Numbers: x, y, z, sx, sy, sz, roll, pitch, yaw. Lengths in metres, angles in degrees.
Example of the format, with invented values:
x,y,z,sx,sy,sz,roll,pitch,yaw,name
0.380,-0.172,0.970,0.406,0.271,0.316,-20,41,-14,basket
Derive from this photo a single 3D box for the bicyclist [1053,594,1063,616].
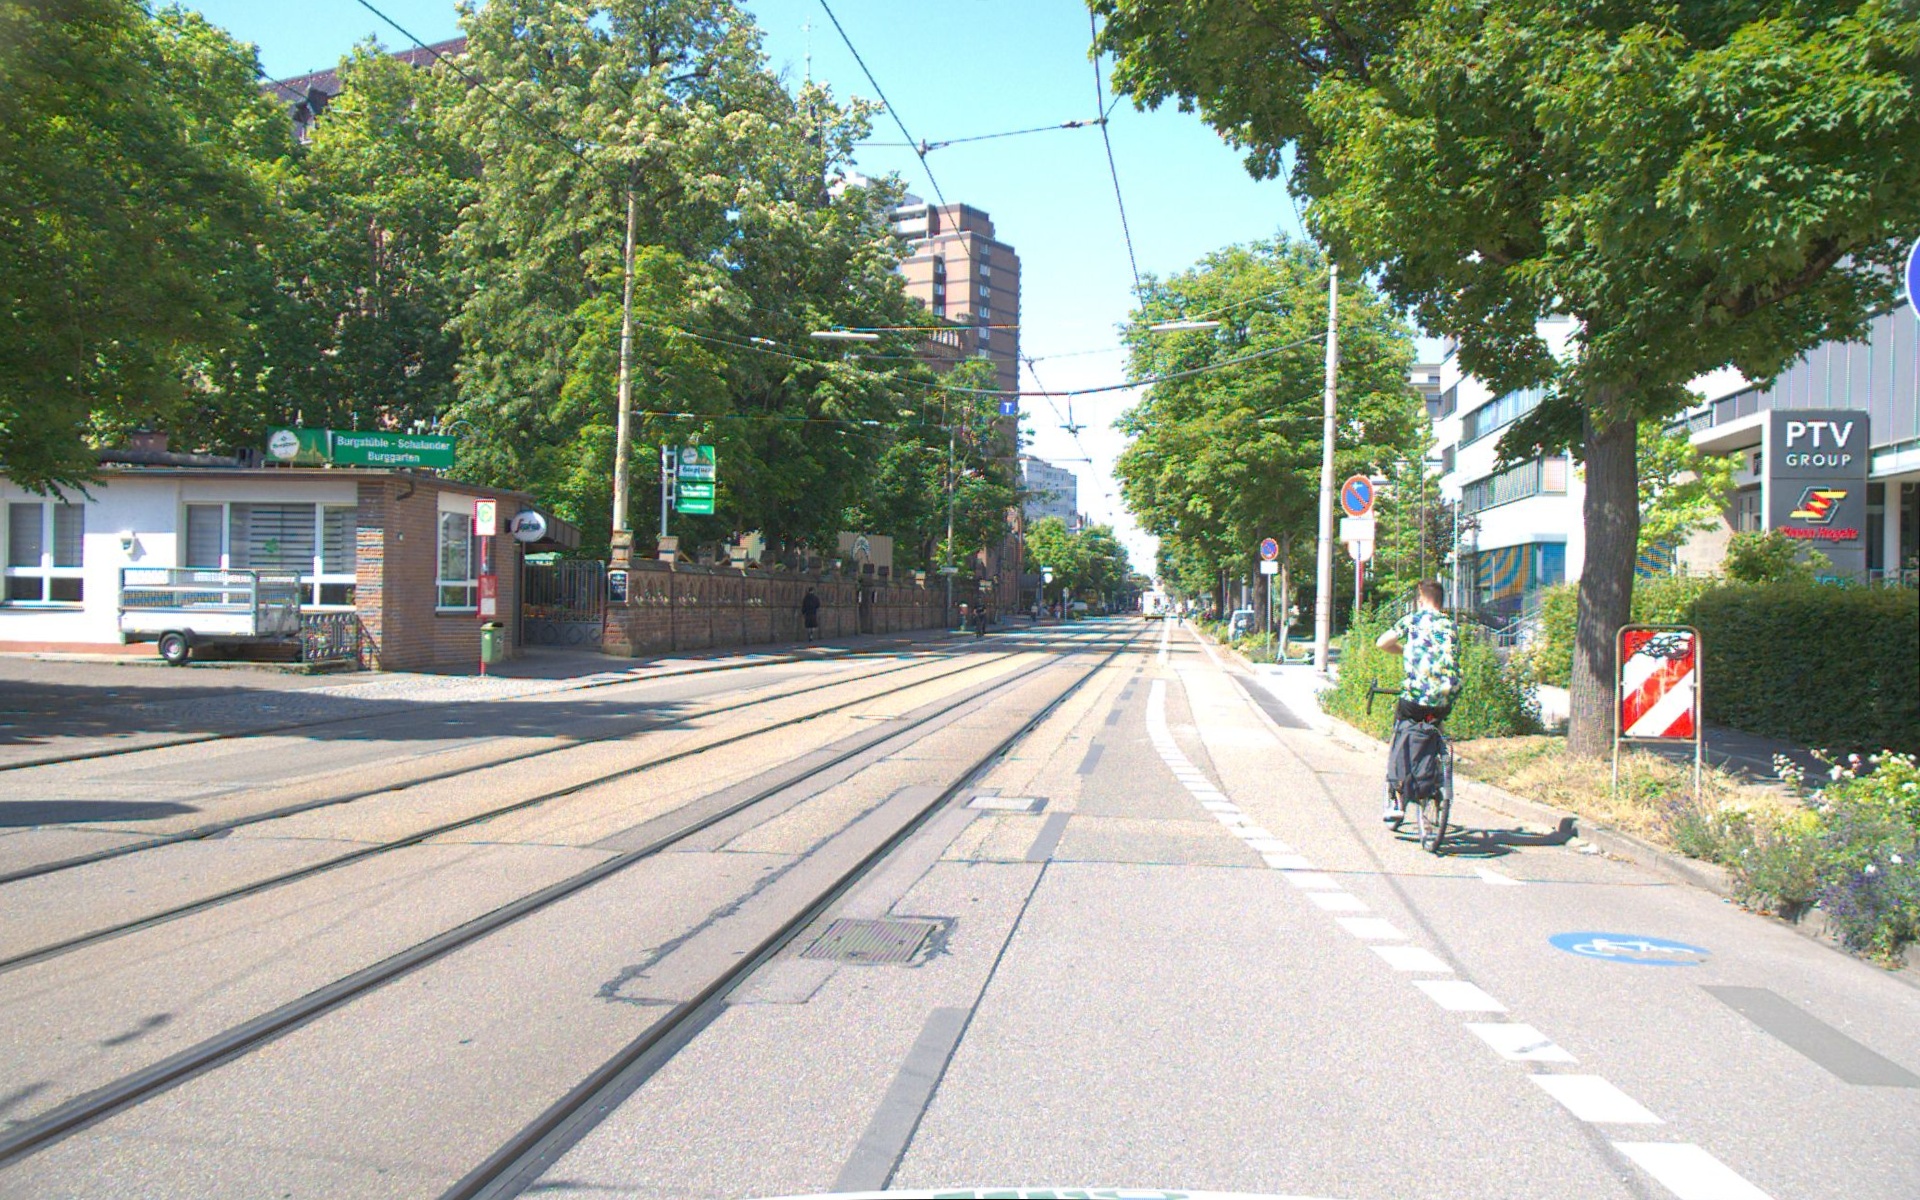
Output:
x,y,z,sx,sy,sz,roll,pitch,yaw,name
7.919,0.392,133.666,0.710,1.728,1.147,0,-1,7,bicyclist

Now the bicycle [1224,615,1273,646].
x,y,z,sx,sy,sz,roll,pitch,yaw,name
11.331,1.200,65.007,1.863,1.190,0.819,0,0,7,bicycle

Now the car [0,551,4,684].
x,y,z,sx,sy,sz,roll,pitch,yaw,name
-14.464,0.167,20.169,4.614,1.669,1.992,1,0,-40,car

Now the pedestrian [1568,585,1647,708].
x,y,z,sx,sy,sz,roll,pitch,yaw,name
8.568,0.607,21.924,0.672,1.590,0.989,-1,0,3,pedestrian

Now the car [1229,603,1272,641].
x,y,z,sx,sy,sz,roll,pitch,yaw,name
12.076,0.901,68.895,1.595,1.498,3.633,1,0,8,car

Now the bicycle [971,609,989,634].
x,y,z,sx,sy,sz,roll,pitch,yaw,name
0.908,0.960,74.592,0.579,1.125,2.056,1,0,8,bicycle

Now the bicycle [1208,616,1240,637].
x,y,z,sx,sy,sz,roll,pitch,yaw,name
14.350,1.456,89.950,1.687,1.105,0.479,0,0,7,bicycle

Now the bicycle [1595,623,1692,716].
x,y,z,sx,sy,sz,roll,pitch,yaw,name
9.018,0.894,21.891,0.622,1.137,2.068,1,0,6,bicycle

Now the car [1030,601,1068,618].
x,y,z,sx,sy,sz,roll,pitch,yaw,name
10.115,1.088,188.672,3.945,1.842,1.871,1,-1,-30,car

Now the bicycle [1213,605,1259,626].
x,y,z,sx,sy,sz,roll,pitch,yaw,name
18.389,1.044,110.213,2.963,1.355,1.042,1,-1,11,bicycle

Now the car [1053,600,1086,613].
x,y,z,sx,sy,sz,roll,pitch,yaw,name
14.635,0.869,221.379,3.933,1.780,1.986,1,-1,-23,car

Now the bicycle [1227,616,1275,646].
x,y,z,sx,sy,sz,roll,pitch,yaw,name
11.117,1.190,63.164,1.754,1.105,0.727,0,0,7,bicycle

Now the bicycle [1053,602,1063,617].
x,y,z,sx,sy,sz,roll,pitch,yaw,name
7.900,0.746,133.733,0.648,1.174,2.015,1,0,8,bicycle

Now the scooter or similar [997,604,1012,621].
x,y,z,sx,sy,sz,roll,pitch,yaw,name
3.064,0.872,114.244,1.177,1.149,0.328,1,-1,-44,scooter or similar

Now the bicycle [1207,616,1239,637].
x,y,z,sx,sy,sz,roll,pitch,yaw,name
14.210,1.447,89.370,1.687,1.105,0.615,0,0,7,bicycle

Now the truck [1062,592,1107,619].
x,y,z,sx,sy,sz,roll,pitch,yaw,name
18.852,0.868,249.910,2.760,3.927,9.983,0,-1,29,truck

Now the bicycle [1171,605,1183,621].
x,y,z,sx,sy,sz,roll,pitch,yaw,name
16.700,0.999,127.412,0.837,1.129,2.141,1,0,7,bicycle

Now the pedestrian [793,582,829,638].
x,y,z,sx,sy,sz,roll,pitch,yaw,name
-5.020,0.337,55.840,0.955,1.847,1.186,1,0,8,pedestrian

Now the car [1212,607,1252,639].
x,y,z,sx,sy,sz,roll,pitch,yaw,name
13.271,1.097,80.899,1.595,1.509,4.276,1,0,5,car

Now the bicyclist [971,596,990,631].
x,y,z,sx,sy,sz,roll,pitch,yaw,name
0.941,0.606,74.574,0.724,1.557,0.948,1,0,8,bicyclist

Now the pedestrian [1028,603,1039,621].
x,y,z,sx,sy,sz,roll,pitch,yaw,name
6.330,1.007,142.309,0.865,1.538,1.475,1,-1,-1,pedestrian

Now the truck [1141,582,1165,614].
x,y,z,sx,sy,sz,roll,pitch,yaw,name
20.234,-0.191,173.054,2.351,3.163,6.041,1,0,7,truck

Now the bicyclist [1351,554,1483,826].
x,y,z,sx,sy,sz,roll,pitch,yaw,name
3.097,0.585,11.293,0.701,1.754,0.988,1,0,7,bicyclist

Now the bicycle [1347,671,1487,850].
x,y,z,sx,sy,sz,roll,pitch,yaw,name
3.100,1.046,11.400,0.595,1.001,2.166,1,0,7,bicycle

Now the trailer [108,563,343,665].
x,y,z,sx,sy,sz,roll,pitch,yaw,name
-12.510,0.230,28.265,3.204,1.631,1.725,1,0,8,trailer

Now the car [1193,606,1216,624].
x,y,z,sx,sy,sz,roll,pitch,yaw,name
19.139,1.191,129.407,1.595,1.378,3.904,0,0,5,car

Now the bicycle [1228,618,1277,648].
x,y,z,sx,sy,sz,roll,pitch,yaw,name
11.242,1.265,63.682,1.809,1.152,0.681,0,0,7,bicycle

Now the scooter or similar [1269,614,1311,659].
x,y,z,sx,sy,sz,roll,pitch,yaw,name
8.986,0.990,45.055,1.102,1.187,0.676,1,0,10,scooter or similar

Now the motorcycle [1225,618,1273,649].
x,y,z,sx,sy,sz,roll,pitch,yaw,name
10.630,1.240,60.916,1.687,1.105,0.659,0,0,7,motorcycle
